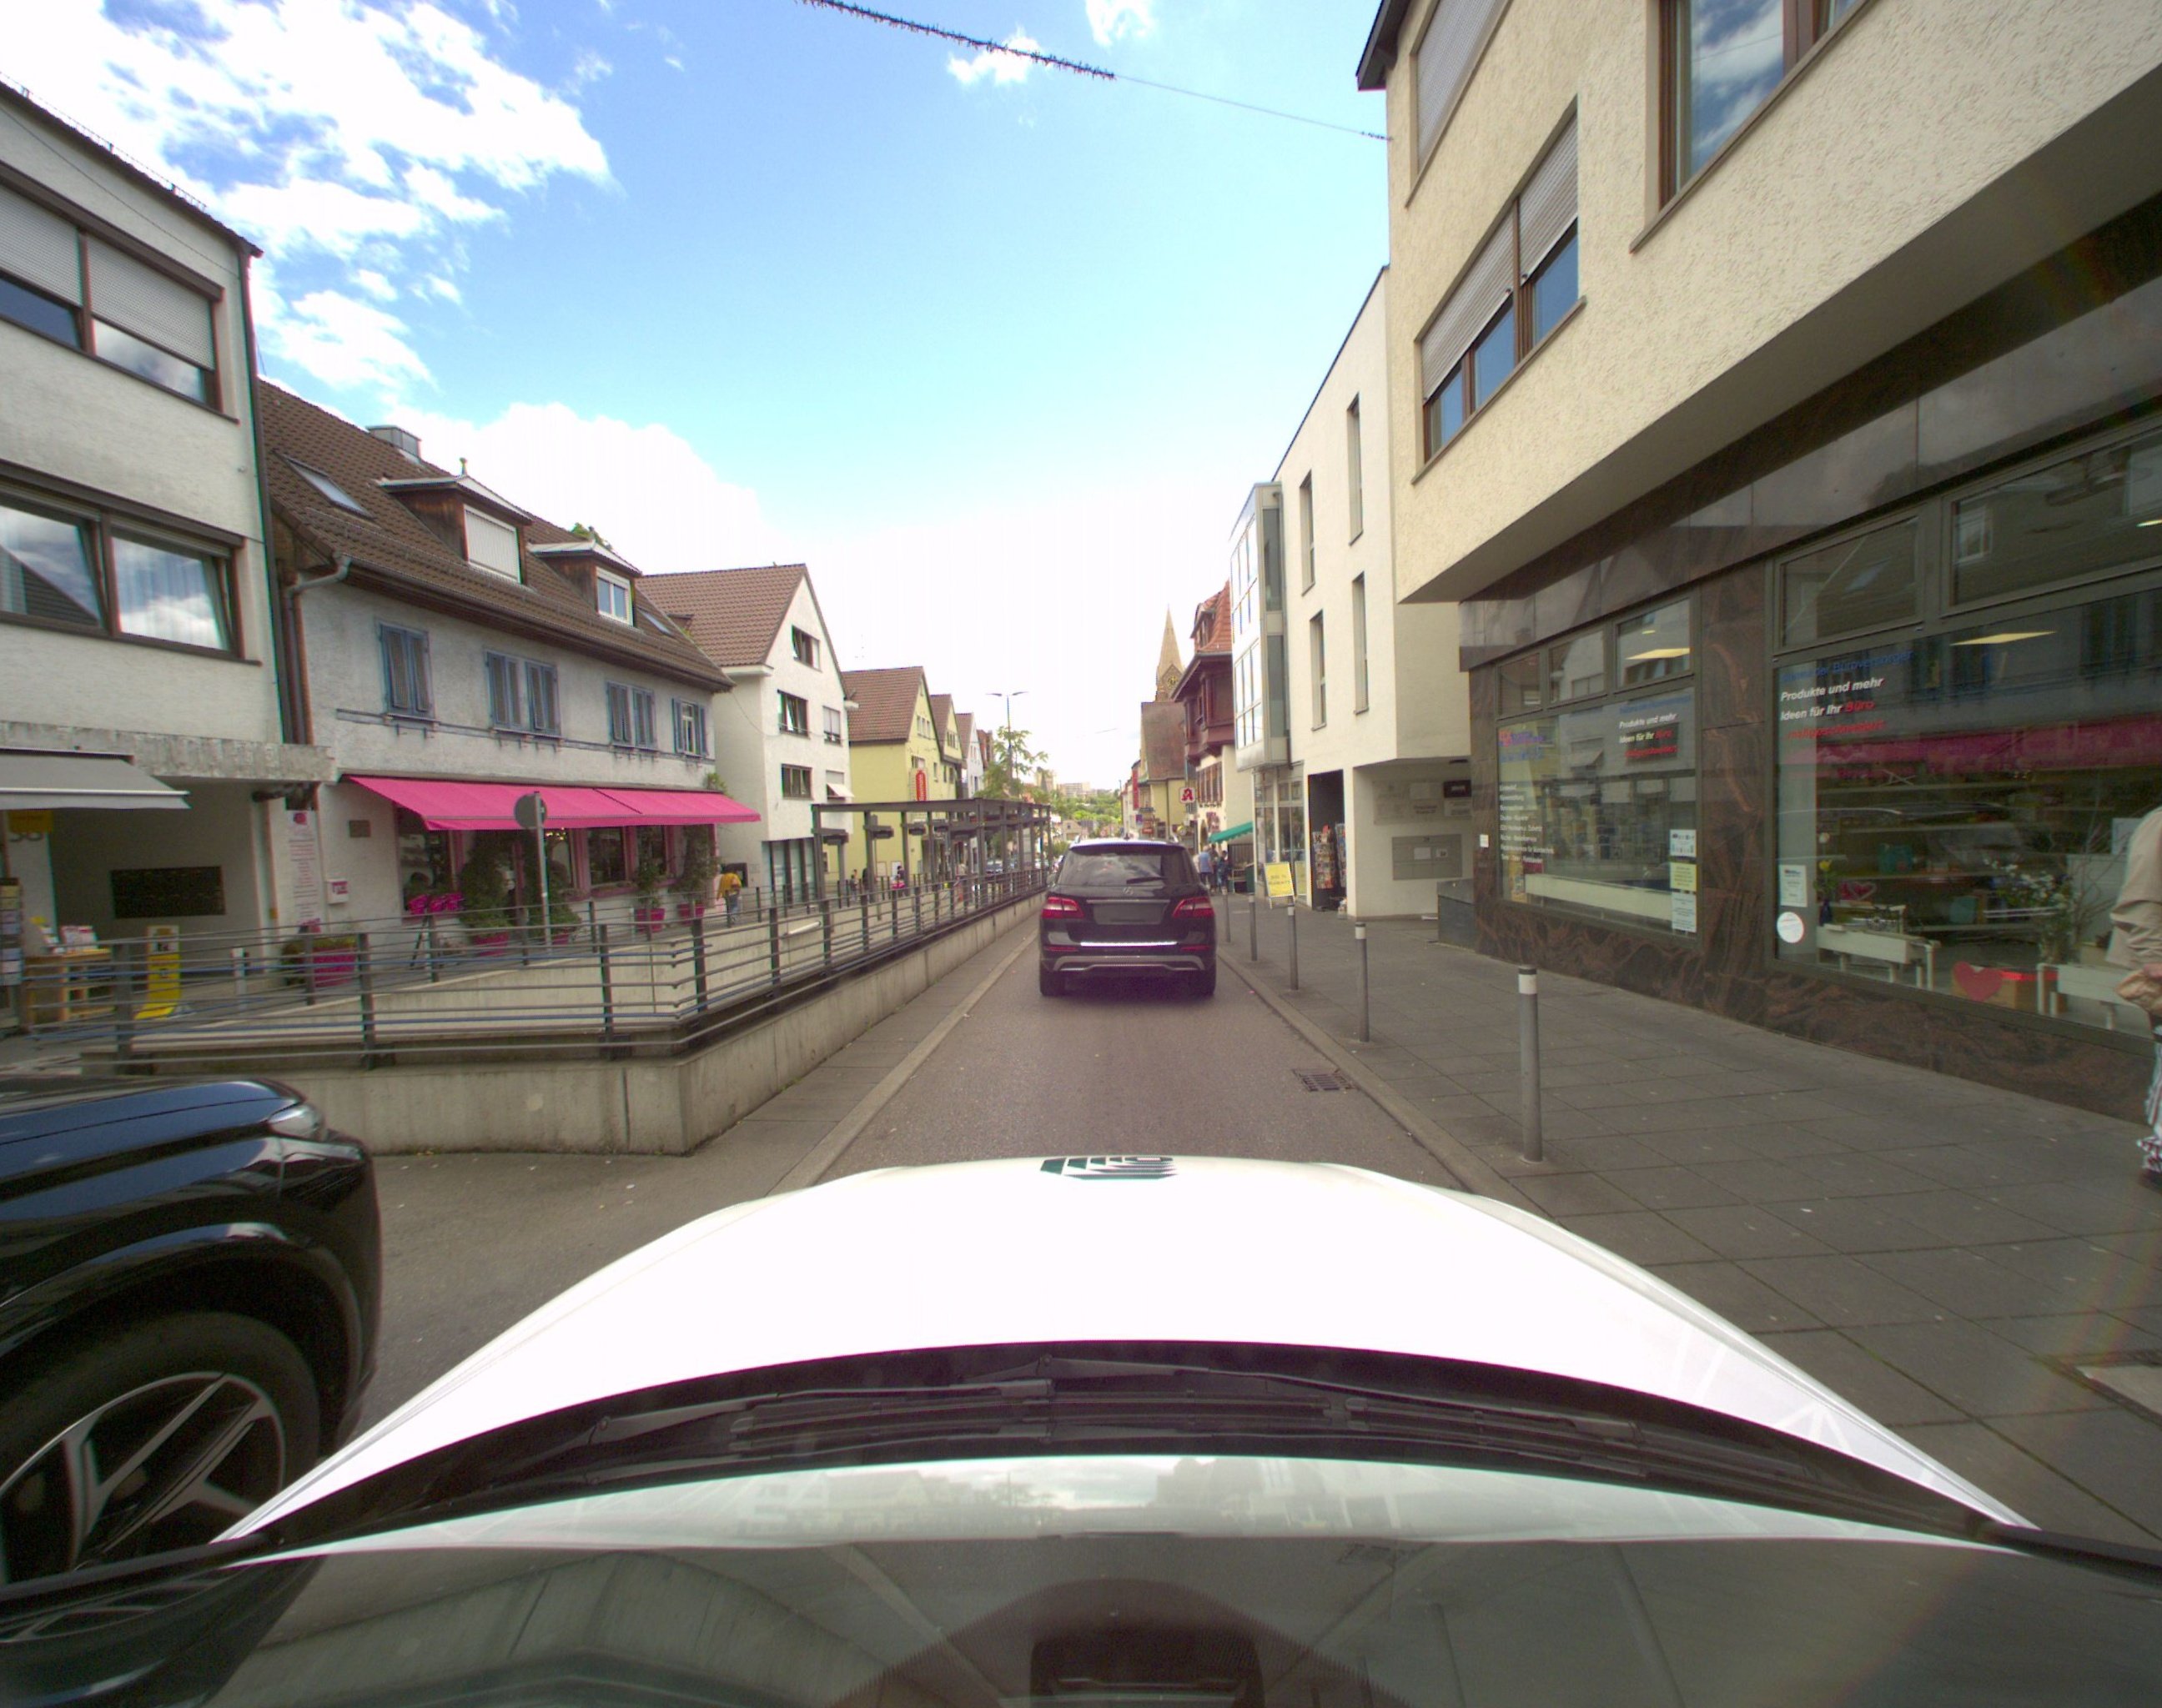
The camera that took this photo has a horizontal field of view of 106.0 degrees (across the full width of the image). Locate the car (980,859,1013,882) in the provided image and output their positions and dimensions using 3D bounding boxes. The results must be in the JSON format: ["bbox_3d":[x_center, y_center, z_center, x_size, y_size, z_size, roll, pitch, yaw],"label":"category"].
[{"bbox_3d":[-5.751,1.127,55.670,1.683,1.490,3.981,0,0,2],"label":"car"}]

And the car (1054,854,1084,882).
[{"bbox_3d":[-0.759,0.884,52.692,1.764,1.713,4.001,0,0,1],"label":"car"}]

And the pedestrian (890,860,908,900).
[{"bbox_3d":[-7.871,1.105,35.196,0.623,1.689,0.679,0,0,1],"label":"pedestrian"}]

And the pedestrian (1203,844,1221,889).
[{"bbox_3d":[4.996,0.463,31.093,0.572,1.689,0.565,0,0,-5],"label":"pedestrian"}]

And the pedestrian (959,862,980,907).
[{"bbox_3d":[-4.306,1.154,31.412,0.766,1.689,0.724,0,0,-14],"label":"pedestrian"}]

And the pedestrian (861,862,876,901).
[{"bbox_3d":[-9.176,1.184,35.229,0.612,1.689,0.560,0,0,-13],"label":"pedestrian"}]

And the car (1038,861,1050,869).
[{"bbox_3d":[-5.100,1.524,112.757,1.383,1.070,3.114,-3,0,2],"label":"car"}]

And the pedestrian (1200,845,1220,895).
[{"bbox_3d":[4.547,0.567,28.733,0.541,1.726,0.527,-2,0,-5],"label":"pedestrian"}]

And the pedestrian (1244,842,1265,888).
[{"bbox_3d":[6.457,0.399,30.315,0.572,1.689,0.565,-2,0,-5],"label":"pedestrian"}]

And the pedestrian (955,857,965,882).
[{"bbox_3d":[-7.971,1.020,53.628,0.511,1.689,0.542,0,0,1],"label":"pedestrian"}]

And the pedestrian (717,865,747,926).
[{"bbox_3d":[-9.808,1.163,22.905,0.576,1.689,0.577,0,0,1],"label":"pedestrian"}]

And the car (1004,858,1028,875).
[{"bbox_3d":[-5.799,1.108,72.906,1.654,1.490,3.749,0,0,2],"label":"car"}]

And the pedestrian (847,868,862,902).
[{"bbox_3d":[-9.652,1.313,34.643,0.454,1.421,0.534,0,0,4],"label":"pedestrian"}]

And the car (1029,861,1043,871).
[{"bbox_3d":[-5.264,1.438,95.555,1.383,1.070,3.114,-3,0,2],"label":"car"}]

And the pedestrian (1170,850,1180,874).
[{"bbox_3d":[6.756,0.581,58.378,0.604,1.688,0.724,-3,0,1],"label":"pedestrian"}]

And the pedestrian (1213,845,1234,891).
[{"bbox_3d":[5.270,0.511,30.141,0.572,1.689,0.565,-2,0,-5],"label":"pedestrian"}]

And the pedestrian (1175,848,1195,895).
[{"bbox_3d":[3.746,0.625,29.283,0.620,1.689,0.565,0,0,-5],"label":"pedestrian"}]

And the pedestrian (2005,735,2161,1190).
[{"bbox_3d":[4.277,0.383,3.153,0.662,1.689,0.542,-5,0,-5],"label":"pedestrian"}]

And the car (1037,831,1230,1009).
[{"bbox_3d":[0.519,0.653,10.033,1.894,1.747,3.999,0,0,0],"label":"car"}]
